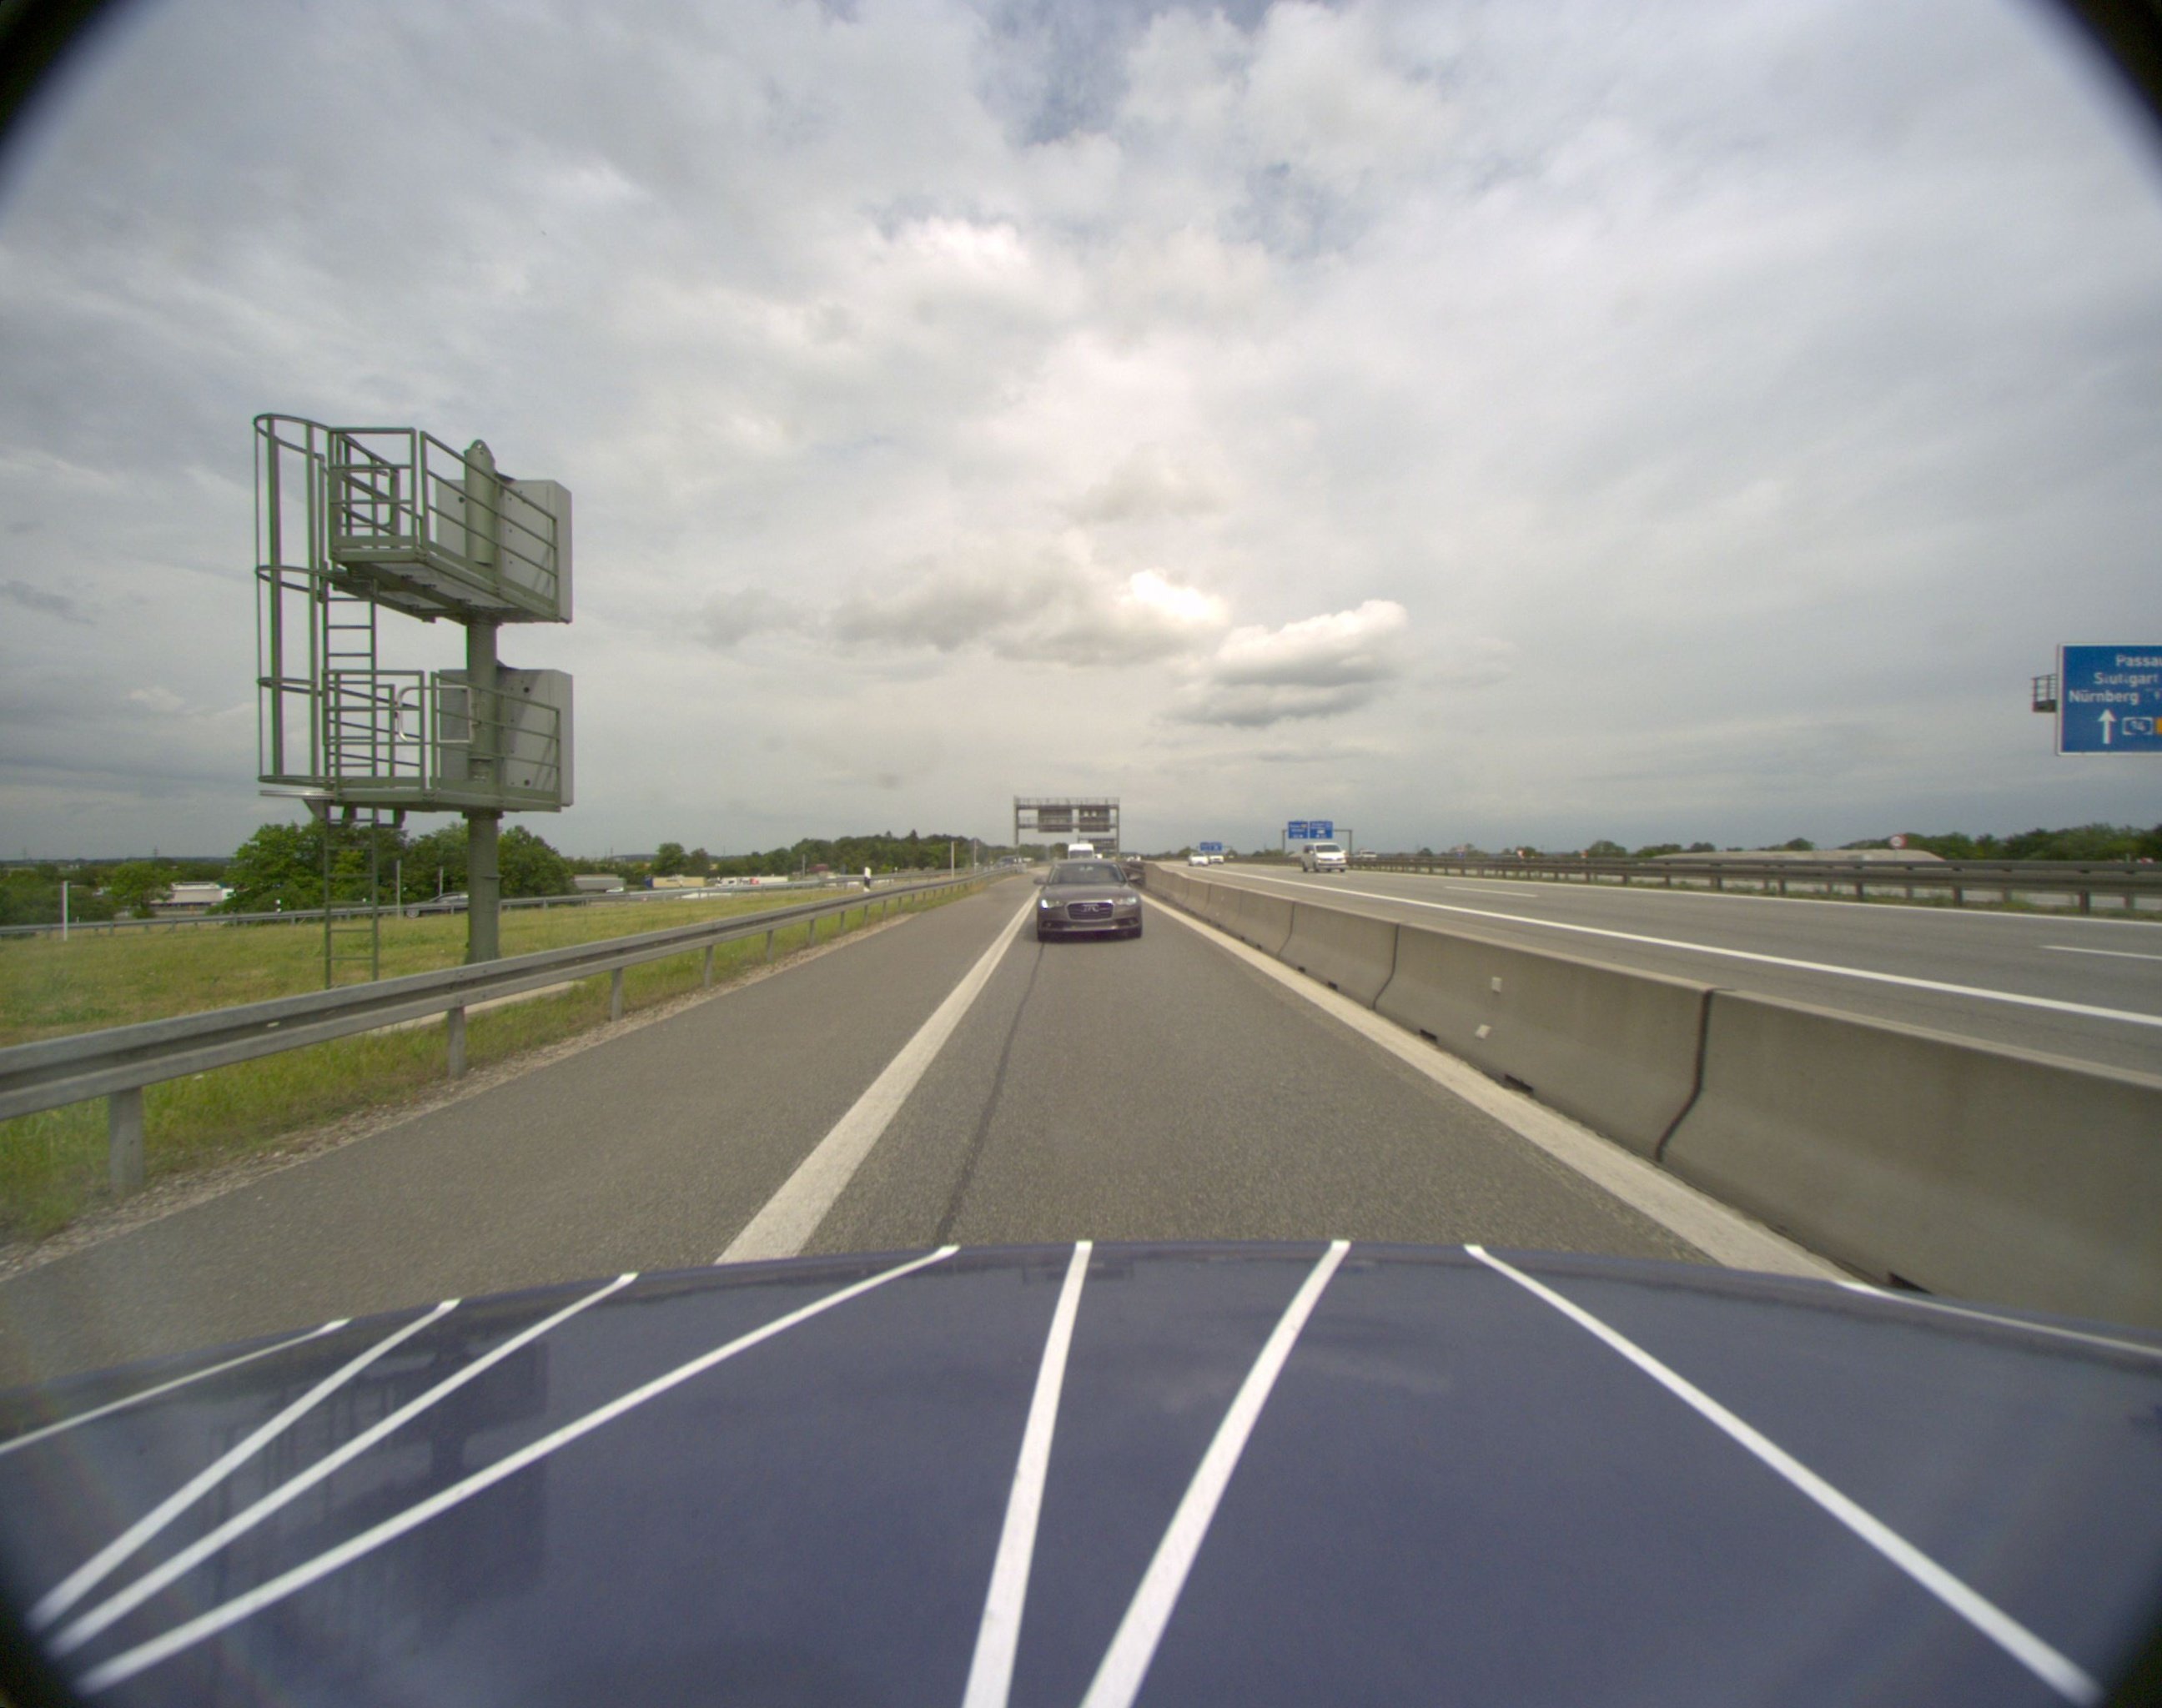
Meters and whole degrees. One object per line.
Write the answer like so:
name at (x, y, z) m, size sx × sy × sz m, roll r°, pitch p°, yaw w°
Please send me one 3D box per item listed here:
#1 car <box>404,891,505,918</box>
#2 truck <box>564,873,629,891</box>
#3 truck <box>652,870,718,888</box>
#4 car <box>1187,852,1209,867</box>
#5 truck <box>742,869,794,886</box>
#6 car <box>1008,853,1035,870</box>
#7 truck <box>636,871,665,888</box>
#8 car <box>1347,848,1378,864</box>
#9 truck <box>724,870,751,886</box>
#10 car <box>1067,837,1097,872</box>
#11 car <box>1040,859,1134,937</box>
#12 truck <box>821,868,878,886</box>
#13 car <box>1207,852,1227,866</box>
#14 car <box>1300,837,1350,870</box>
car at (-35.888, 2.880, 43.678) m, size 4.373 × 1.273 × 1.705 m, roll -1°, pitch -1°, yaw -36°
truck at (-137.276, 7.859, 215.486) m, size 14.887 × 4.527 × 4.005 m, roll -2°, pitch 0°, yaw -11°
truck at (-114.857, 7.158, 220.654) m, size 16.369 × 4.527 × 4.005 m, roll -2°, pitch 0°, yaw -11°
car at (13.674, 0.651, 88.862) m, size 1.998 × 1.739 × 4.001 m, roll -2°, pitch -1°, yaw 1°
truck at (-92.584, 6.949, 224.988) m, size 13.794 × 4.527 × 4.005 m, roll -2°, pitch 0°, yaw -12°
car at (-6.693, 0.865, 85.950) m, size 1.927 × 1.761 × 4.004 m, roll -2°, pitch -1°, yaw 12°
truck at (-123.856, 7.359, 218.829) m, size 6.295 × 4.484 × 3.929 m, roll -2°, pitch 0°, yaw -11°
car at (30.128, 0.273, 81.367) m, size 1.748 × 1.613 × 4.518 m, roll -2°, pitch -1°, yaw 3°
truck at (-100.927, 7.115, 223.181) m, size 6.294 × 4.484 × 3.929 m, roll -2°, pitch 0°, yaw -11°
car at (0.088, 0.080, 58.889) m, size 2.119 × 2.439 × 6.152 m, roll -2°, pitch -1°, yaw 1°
car at (0.162, 0.849, 16.432) m, size 1.747 × 1.380 × 4.000 m, roll -2°, pitch 0°, yaw 1°
truck at (-70.034, 6.865, 230.125) m, size 16.177 × 4.672 × 3.990 m, roll -2°, pitch 1°, yaw -11°
car at (18.041, 0.678, 100.921) m, size 1.998 × 1.870 × 4.001 m, roll -2°, pitch -1°, yaw 1°
car at (16.095, -0.007, 50.343) m, size 1.998 × 2.001 × 4.467 m, roll -2°, pitch -1°, yaw 3°
